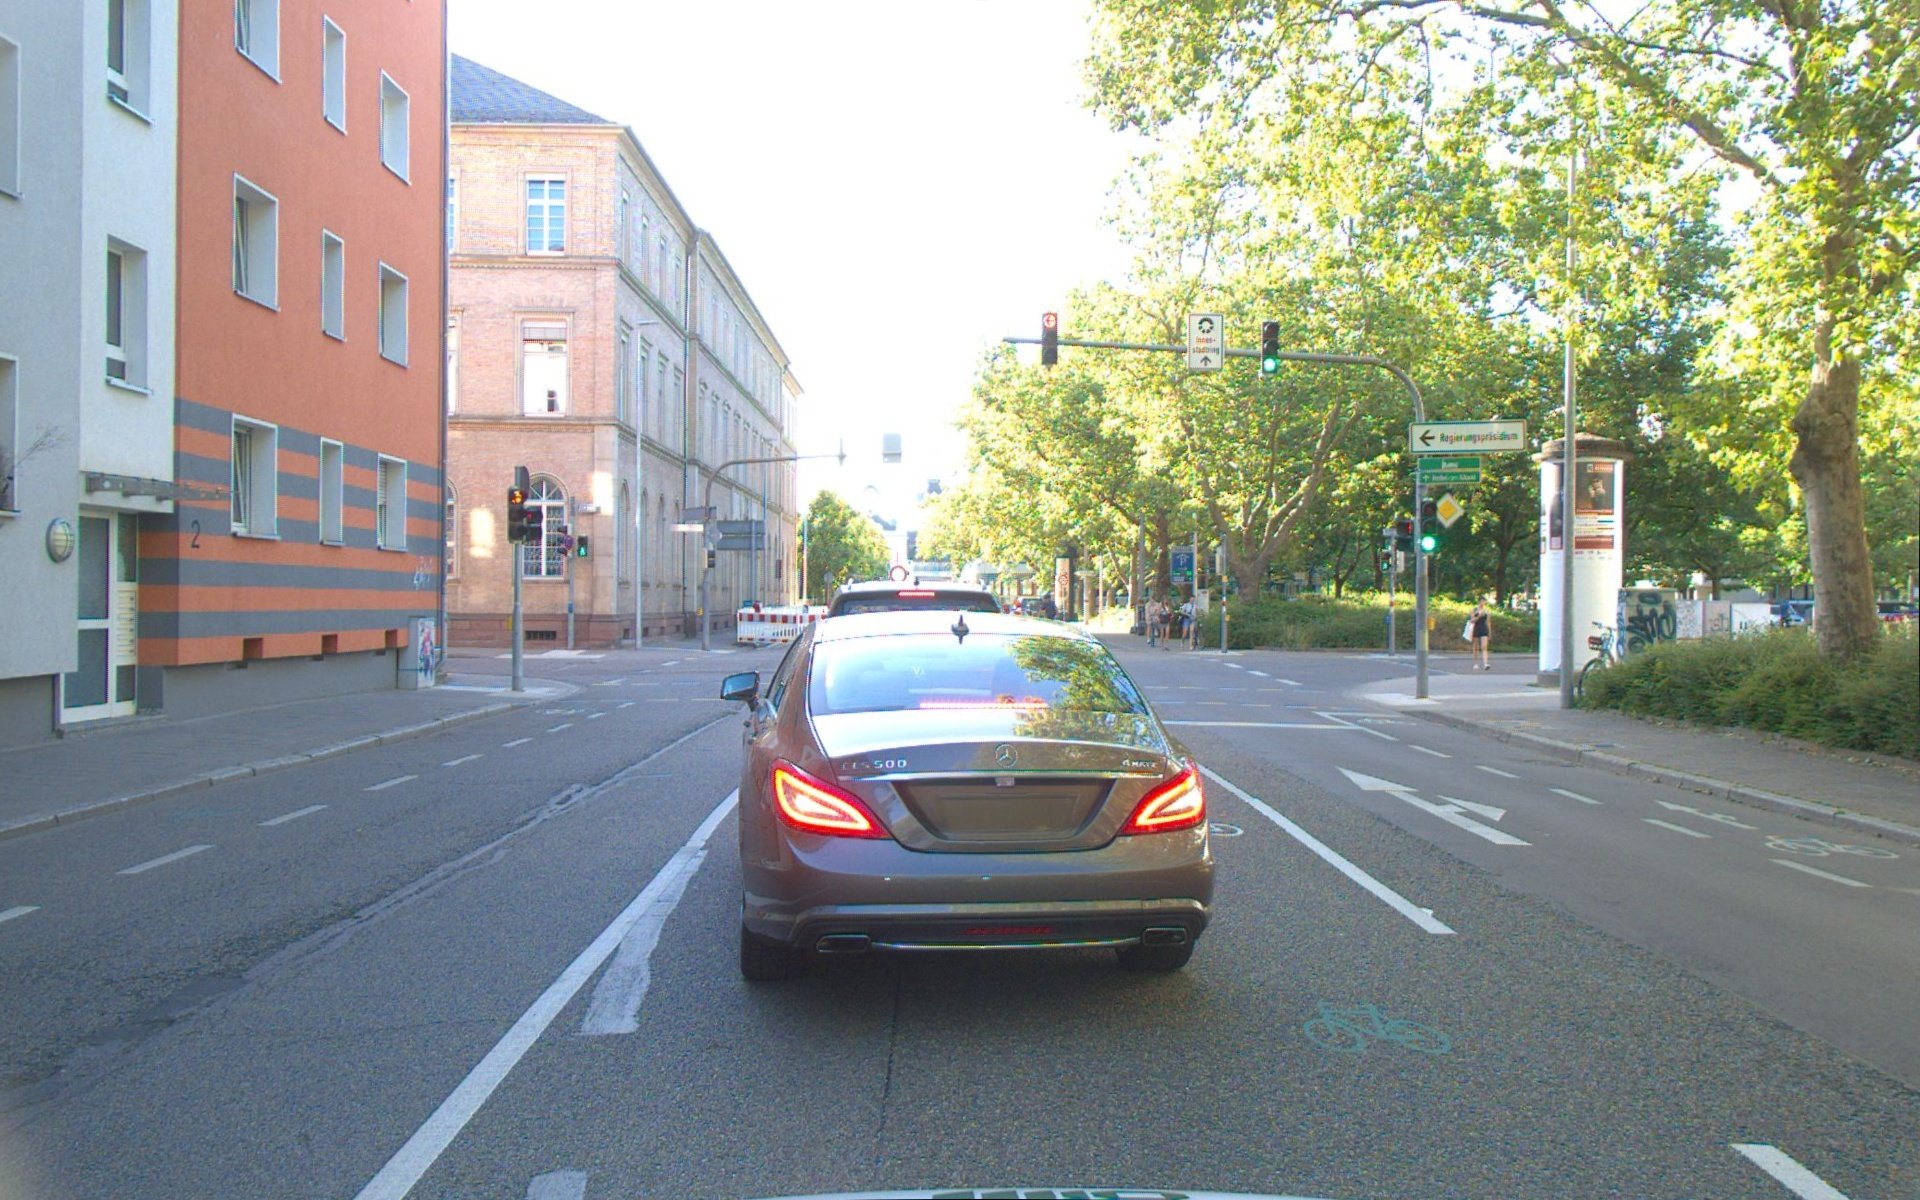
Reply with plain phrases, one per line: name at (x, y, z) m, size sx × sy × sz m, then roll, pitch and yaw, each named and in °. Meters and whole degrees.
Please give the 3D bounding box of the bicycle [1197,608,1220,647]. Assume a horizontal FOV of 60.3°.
bicycle at (7.947, 0.878, 52.975) m, size 0.472 × 1.223 × 1.606 m, roll 1°, pitch 0°, yaw -1°

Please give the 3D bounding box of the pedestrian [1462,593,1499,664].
pedestrian at (11.688, 0.628, 37.143) m, size 0.622 × 1.572 × 0.911 m, roll 1°, pitch 0°, yaw 7°

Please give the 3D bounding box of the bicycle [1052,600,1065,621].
bicycle at (6.244, 0.679, 105.071) m, size 0.580 × 1.285 × 1.804 m, roll 1°, pitch 0°, yaw -5°

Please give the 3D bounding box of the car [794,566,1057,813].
car at (-0.271, 0.620, 13.586) m, size 1.823 × 1.712 × 3.999 m, roll 1°, pitch 0°, yaw -1°

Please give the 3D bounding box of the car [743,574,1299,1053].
car at (-0.035, 0.691, 7.458) m, size 1.826 × 1.545 × 3.993 m, roll 1°, pitch 0°, yaw -8°

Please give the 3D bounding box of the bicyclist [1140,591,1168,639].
bicyclist at (6.730, 0.516, 57.392) m, size 0.808 × 1.646 × 0.957 m, roll 1°, pitch 0°, yaw -1°

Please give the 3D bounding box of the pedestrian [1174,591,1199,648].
pedestrian at (7.271, 0.627, 53.048) m, size 0.623 × 1.791 × 0.698 m, roll 1°, pitch -1°, yaw -5°

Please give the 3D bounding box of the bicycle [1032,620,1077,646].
bicycle at (3.088, 1.072, 53.872) m, size 0.709 × 0.805 × 1.925 m, roll 1°, pitch 0°, yaw 27°

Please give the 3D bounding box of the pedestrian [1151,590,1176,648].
pedestrian at (6.557, 0.604, 53.303) m, size 0.623 × 1.828 × 0.698 m, roll 1°, pitch -1°, yaw -5°

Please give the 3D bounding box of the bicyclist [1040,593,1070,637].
bicyclist at (3.089, 0.486, 53.845) m, size 0.719 × 1.422 × 0.697 m, roll 1°, pitch -1°, yaw 28°

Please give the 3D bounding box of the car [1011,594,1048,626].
car at (3.968, 0.557, 95.111) m, size 1.823 × 1.794 × 4.481 m, roll 1°, pitch 0°, yaw -1°

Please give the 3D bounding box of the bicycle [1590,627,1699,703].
bicycle at (9.870, 0.924, 23.831) m, size 1.868 × 1.046 × 0.633 m, roll 1°, pitch -1°, yaw -39°

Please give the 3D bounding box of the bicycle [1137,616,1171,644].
bicycle at (6.717, 1.027, 57.413) m, size 0.811 × 0.940 × 2.616 m, roll 1°, pitch 0°, yaw -1°

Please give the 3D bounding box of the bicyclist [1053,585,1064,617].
bicyclist at (6.256, 0.066, 105.061) m, size 0.583 × 2.075 × 0.565 m, roll 1°, pitch -1°, yaw -5°
